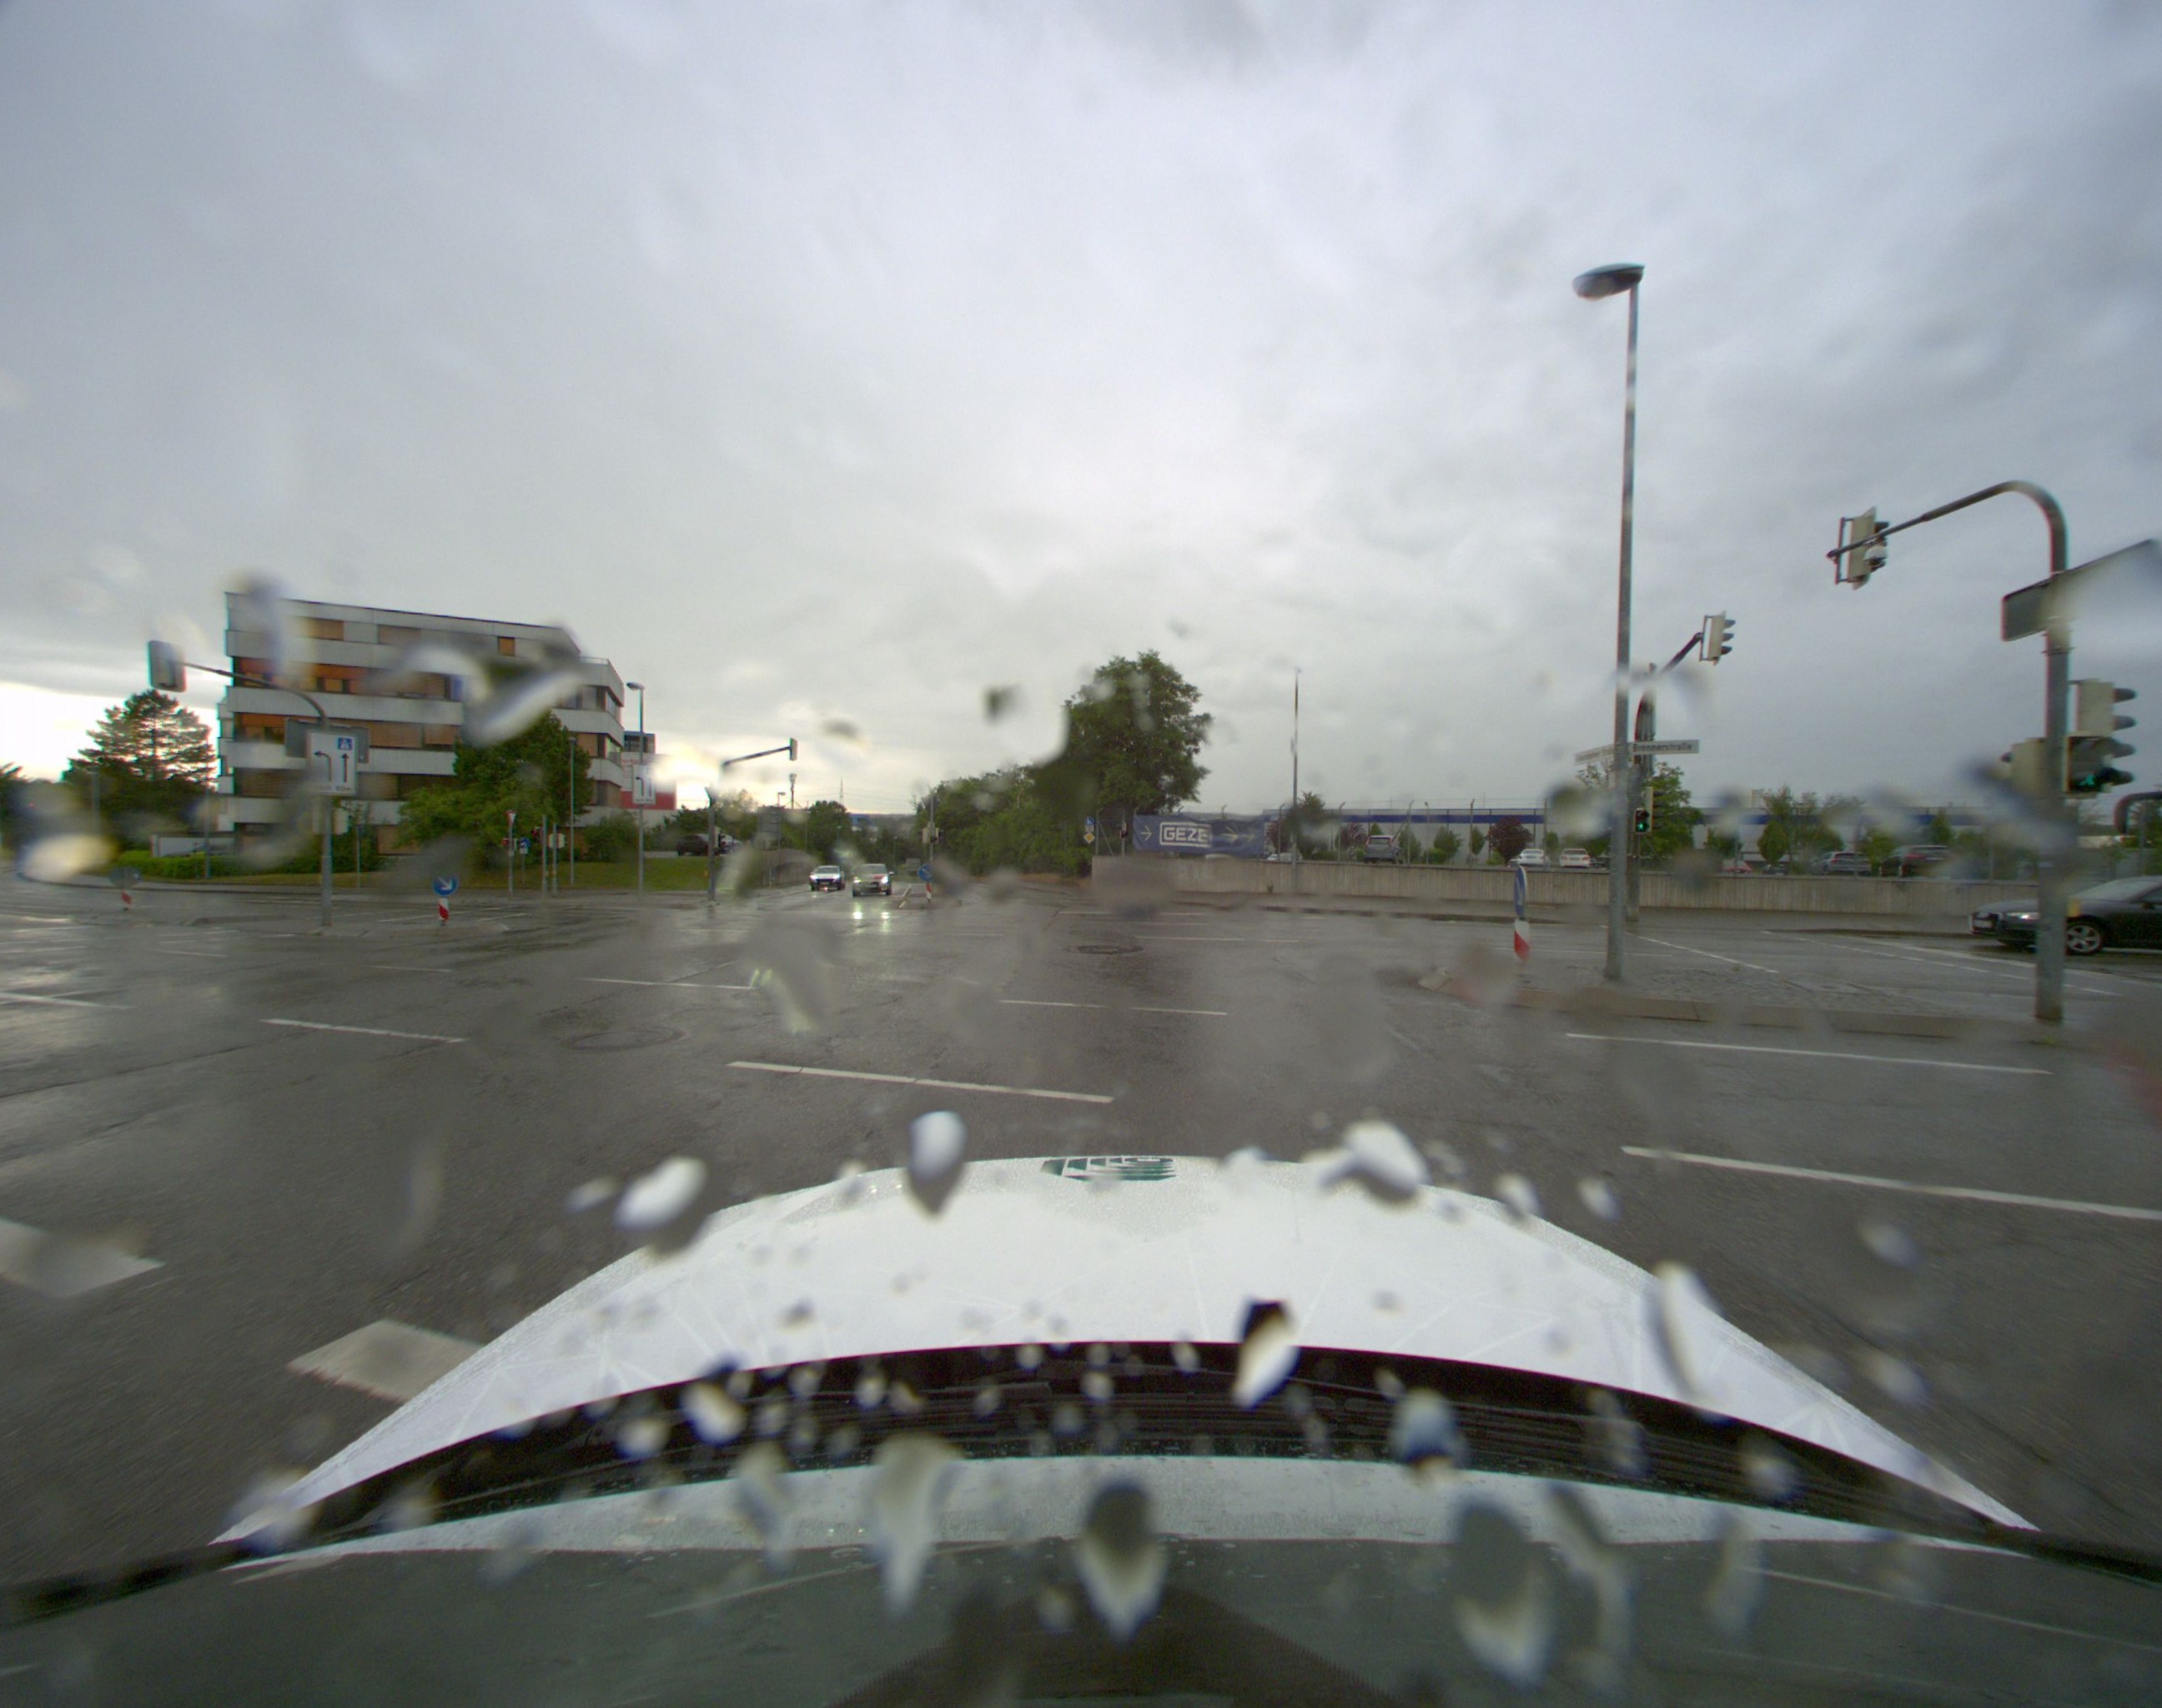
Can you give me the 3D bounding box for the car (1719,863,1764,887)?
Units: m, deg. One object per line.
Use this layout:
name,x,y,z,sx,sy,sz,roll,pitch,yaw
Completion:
car,47.379,1.471,58.485,1.904,1.589,3.812,0,0,30

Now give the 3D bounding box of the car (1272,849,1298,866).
car,20.332,0.339,81.047,1.651,1.606,3.552,0,0,27

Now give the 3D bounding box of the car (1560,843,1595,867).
car,33.263,0.093,54.640,1.840,1.526,4.129,0,0,29

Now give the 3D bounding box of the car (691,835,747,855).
car,-29.842,-0.742,67.146,3.954,1.586,1.911,0,-2,19

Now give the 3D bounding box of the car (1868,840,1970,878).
car,35.935,0.214,35.059,1.690,1.559,4.213,0,0,26

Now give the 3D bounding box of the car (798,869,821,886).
car,-25.279,2.139,75.930,1.902,1.456,3.978,0,0,-16

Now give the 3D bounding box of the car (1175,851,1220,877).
car,7.431,0.612,51.644,1.726,1.570,3.552,0,0,27

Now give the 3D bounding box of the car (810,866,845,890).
car,-15.996,1.489,51.551,1.721,1.494,3.984,0,-1,-11

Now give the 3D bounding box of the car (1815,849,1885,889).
car,41.525,0.785,44.068,1.726,2.014,3.846,0,0,27

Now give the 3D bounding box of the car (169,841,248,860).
car,-66.103,-0.305,61.807,3.776,1.399,1.978,0,0,-36

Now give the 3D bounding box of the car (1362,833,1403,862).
car,17.030,-0.327,45.942,1.726,1.553,3.552,0,0,27

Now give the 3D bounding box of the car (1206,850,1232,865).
car,14.402,0.377,84.932,1.651,1.606,3.552,0,0,27

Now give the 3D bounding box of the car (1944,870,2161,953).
car,18.888,1.005,14.589,4.341,1.354,1.836,0,0,22

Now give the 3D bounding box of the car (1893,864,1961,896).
car,55.760,1.650,53.774,1.975,2.014,4.024,0,0,28

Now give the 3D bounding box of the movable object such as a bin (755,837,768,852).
movable object such as a bin,-31.532,-0.912,80.434,1.087,1.437,1.436,2,-2,-20

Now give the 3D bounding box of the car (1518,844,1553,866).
car,30.973,0.058,55.468,1.800,1.434,4.129,0,0,32

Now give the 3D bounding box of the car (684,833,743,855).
car,-29.023,-0.760,64.279,3.954,1.586,1.911,0,-2,19

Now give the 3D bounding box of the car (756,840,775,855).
car,-35.085,-0.733,90.729,1.833,1.442,3.972,2,-2,-20

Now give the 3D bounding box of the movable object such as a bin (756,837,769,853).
movable object such as a bin,-32.029,-0.901,81.864,1.087,1.437,1.436,2,-2,-20

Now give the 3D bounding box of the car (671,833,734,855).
car,-28.628,-0.757,61.593,3.958,1.586,1.909,0,-2,15

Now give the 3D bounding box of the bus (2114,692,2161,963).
bus,19.508,-0.167,7.654,12.144,3.576,3.003,2,0,23

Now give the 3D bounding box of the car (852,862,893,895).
car,-9.825,1.133,38.517,1.662,1.494,3.984,0,-1,-11
